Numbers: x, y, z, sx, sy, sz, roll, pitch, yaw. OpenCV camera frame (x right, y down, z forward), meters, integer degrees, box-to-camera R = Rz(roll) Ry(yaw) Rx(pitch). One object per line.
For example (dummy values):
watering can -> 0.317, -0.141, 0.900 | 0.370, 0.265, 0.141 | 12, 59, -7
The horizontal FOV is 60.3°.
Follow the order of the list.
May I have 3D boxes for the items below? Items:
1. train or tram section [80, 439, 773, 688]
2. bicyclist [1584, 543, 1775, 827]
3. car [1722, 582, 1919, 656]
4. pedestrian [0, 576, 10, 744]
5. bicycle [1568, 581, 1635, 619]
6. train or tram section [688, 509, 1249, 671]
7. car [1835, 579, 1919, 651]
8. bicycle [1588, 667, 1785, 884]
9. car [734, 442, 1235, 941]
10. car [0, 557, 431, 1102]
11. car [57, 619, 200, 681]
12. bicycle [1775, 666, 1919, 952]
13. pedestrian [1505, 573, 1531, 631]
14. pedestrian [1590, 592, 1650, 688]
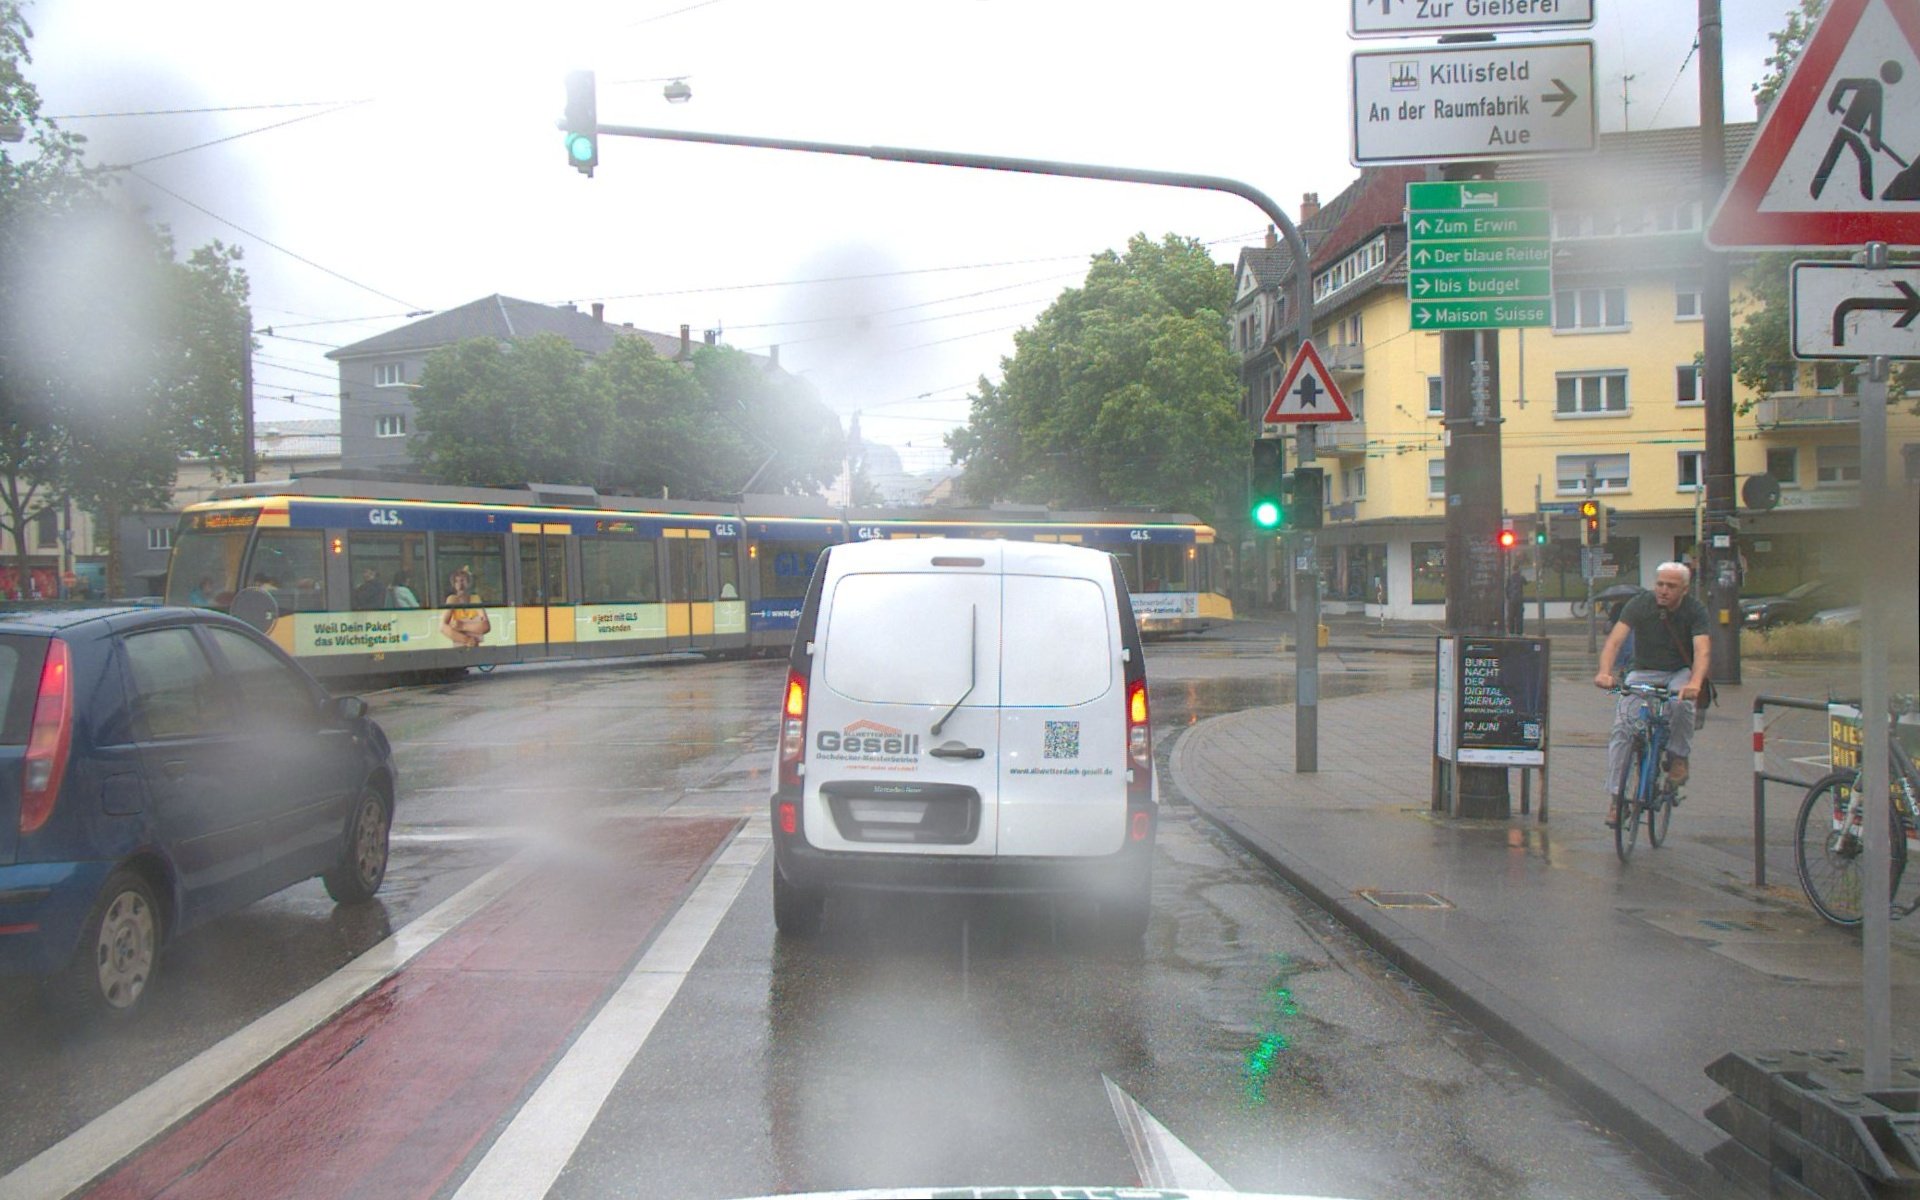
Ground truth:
train or tram section -> -8.794, -0.499, 30.639 | 3.446, 3.574, 13.639 | 1, 0, 28
bicyclist -> 4.267, 0.477, 9.875 | 0.859, 1.611, 0.861 | 0, 0, 9
car -> 20.859, 0.456, 39.086 | 4.832, 1.672, 2.001 | 0, -2, 11
pedestrian -> -9.767, 0.585, 16.284 | 0.617, 1.635, 0.736 | 0, 0, -24
bicycle -> 21.549, -0.002, 55.604 | 2.056, 1.283, 0.532 | 0, 1, 14
train or tram section -> 0.789, -0.112, 41.701 | 15.346, 3.472, 3.504 | 1, 0, -39
car -> 21.336, 0.307, 35.878 | 3.854, 1.516, 1.808 | 0, 1, 15
bicycle -> 4.257, 0.982, 9.822 | 0.449, 1.045, 1.903 | 0, 1, 4
car -> 0.069, 0.381, 9.292 | 2.058, 2.047, 4.962 | 0, 0, -1
car -> -3.606, 0.669, 6.767 | 1.692, 1.606, 3.820 | 0, 0, -1
car -> -20.909, 1.223, 41.756 | 1.611, 1.411, 3.999 | 0, 0, -1
bicycle -> 4.254, 0.907, 7.093 | 0.503, 1.126, 2.017 | 3, 0, 1
pedestrian -> 14.710, 0.058, 43.634 | 0.607, 1.526, 0.553 | 0, 0, 14
pedestrian -> 11.042, 0.658, 27.673 | 0.809, 1.561, 0.614 | 1, 0, -39
